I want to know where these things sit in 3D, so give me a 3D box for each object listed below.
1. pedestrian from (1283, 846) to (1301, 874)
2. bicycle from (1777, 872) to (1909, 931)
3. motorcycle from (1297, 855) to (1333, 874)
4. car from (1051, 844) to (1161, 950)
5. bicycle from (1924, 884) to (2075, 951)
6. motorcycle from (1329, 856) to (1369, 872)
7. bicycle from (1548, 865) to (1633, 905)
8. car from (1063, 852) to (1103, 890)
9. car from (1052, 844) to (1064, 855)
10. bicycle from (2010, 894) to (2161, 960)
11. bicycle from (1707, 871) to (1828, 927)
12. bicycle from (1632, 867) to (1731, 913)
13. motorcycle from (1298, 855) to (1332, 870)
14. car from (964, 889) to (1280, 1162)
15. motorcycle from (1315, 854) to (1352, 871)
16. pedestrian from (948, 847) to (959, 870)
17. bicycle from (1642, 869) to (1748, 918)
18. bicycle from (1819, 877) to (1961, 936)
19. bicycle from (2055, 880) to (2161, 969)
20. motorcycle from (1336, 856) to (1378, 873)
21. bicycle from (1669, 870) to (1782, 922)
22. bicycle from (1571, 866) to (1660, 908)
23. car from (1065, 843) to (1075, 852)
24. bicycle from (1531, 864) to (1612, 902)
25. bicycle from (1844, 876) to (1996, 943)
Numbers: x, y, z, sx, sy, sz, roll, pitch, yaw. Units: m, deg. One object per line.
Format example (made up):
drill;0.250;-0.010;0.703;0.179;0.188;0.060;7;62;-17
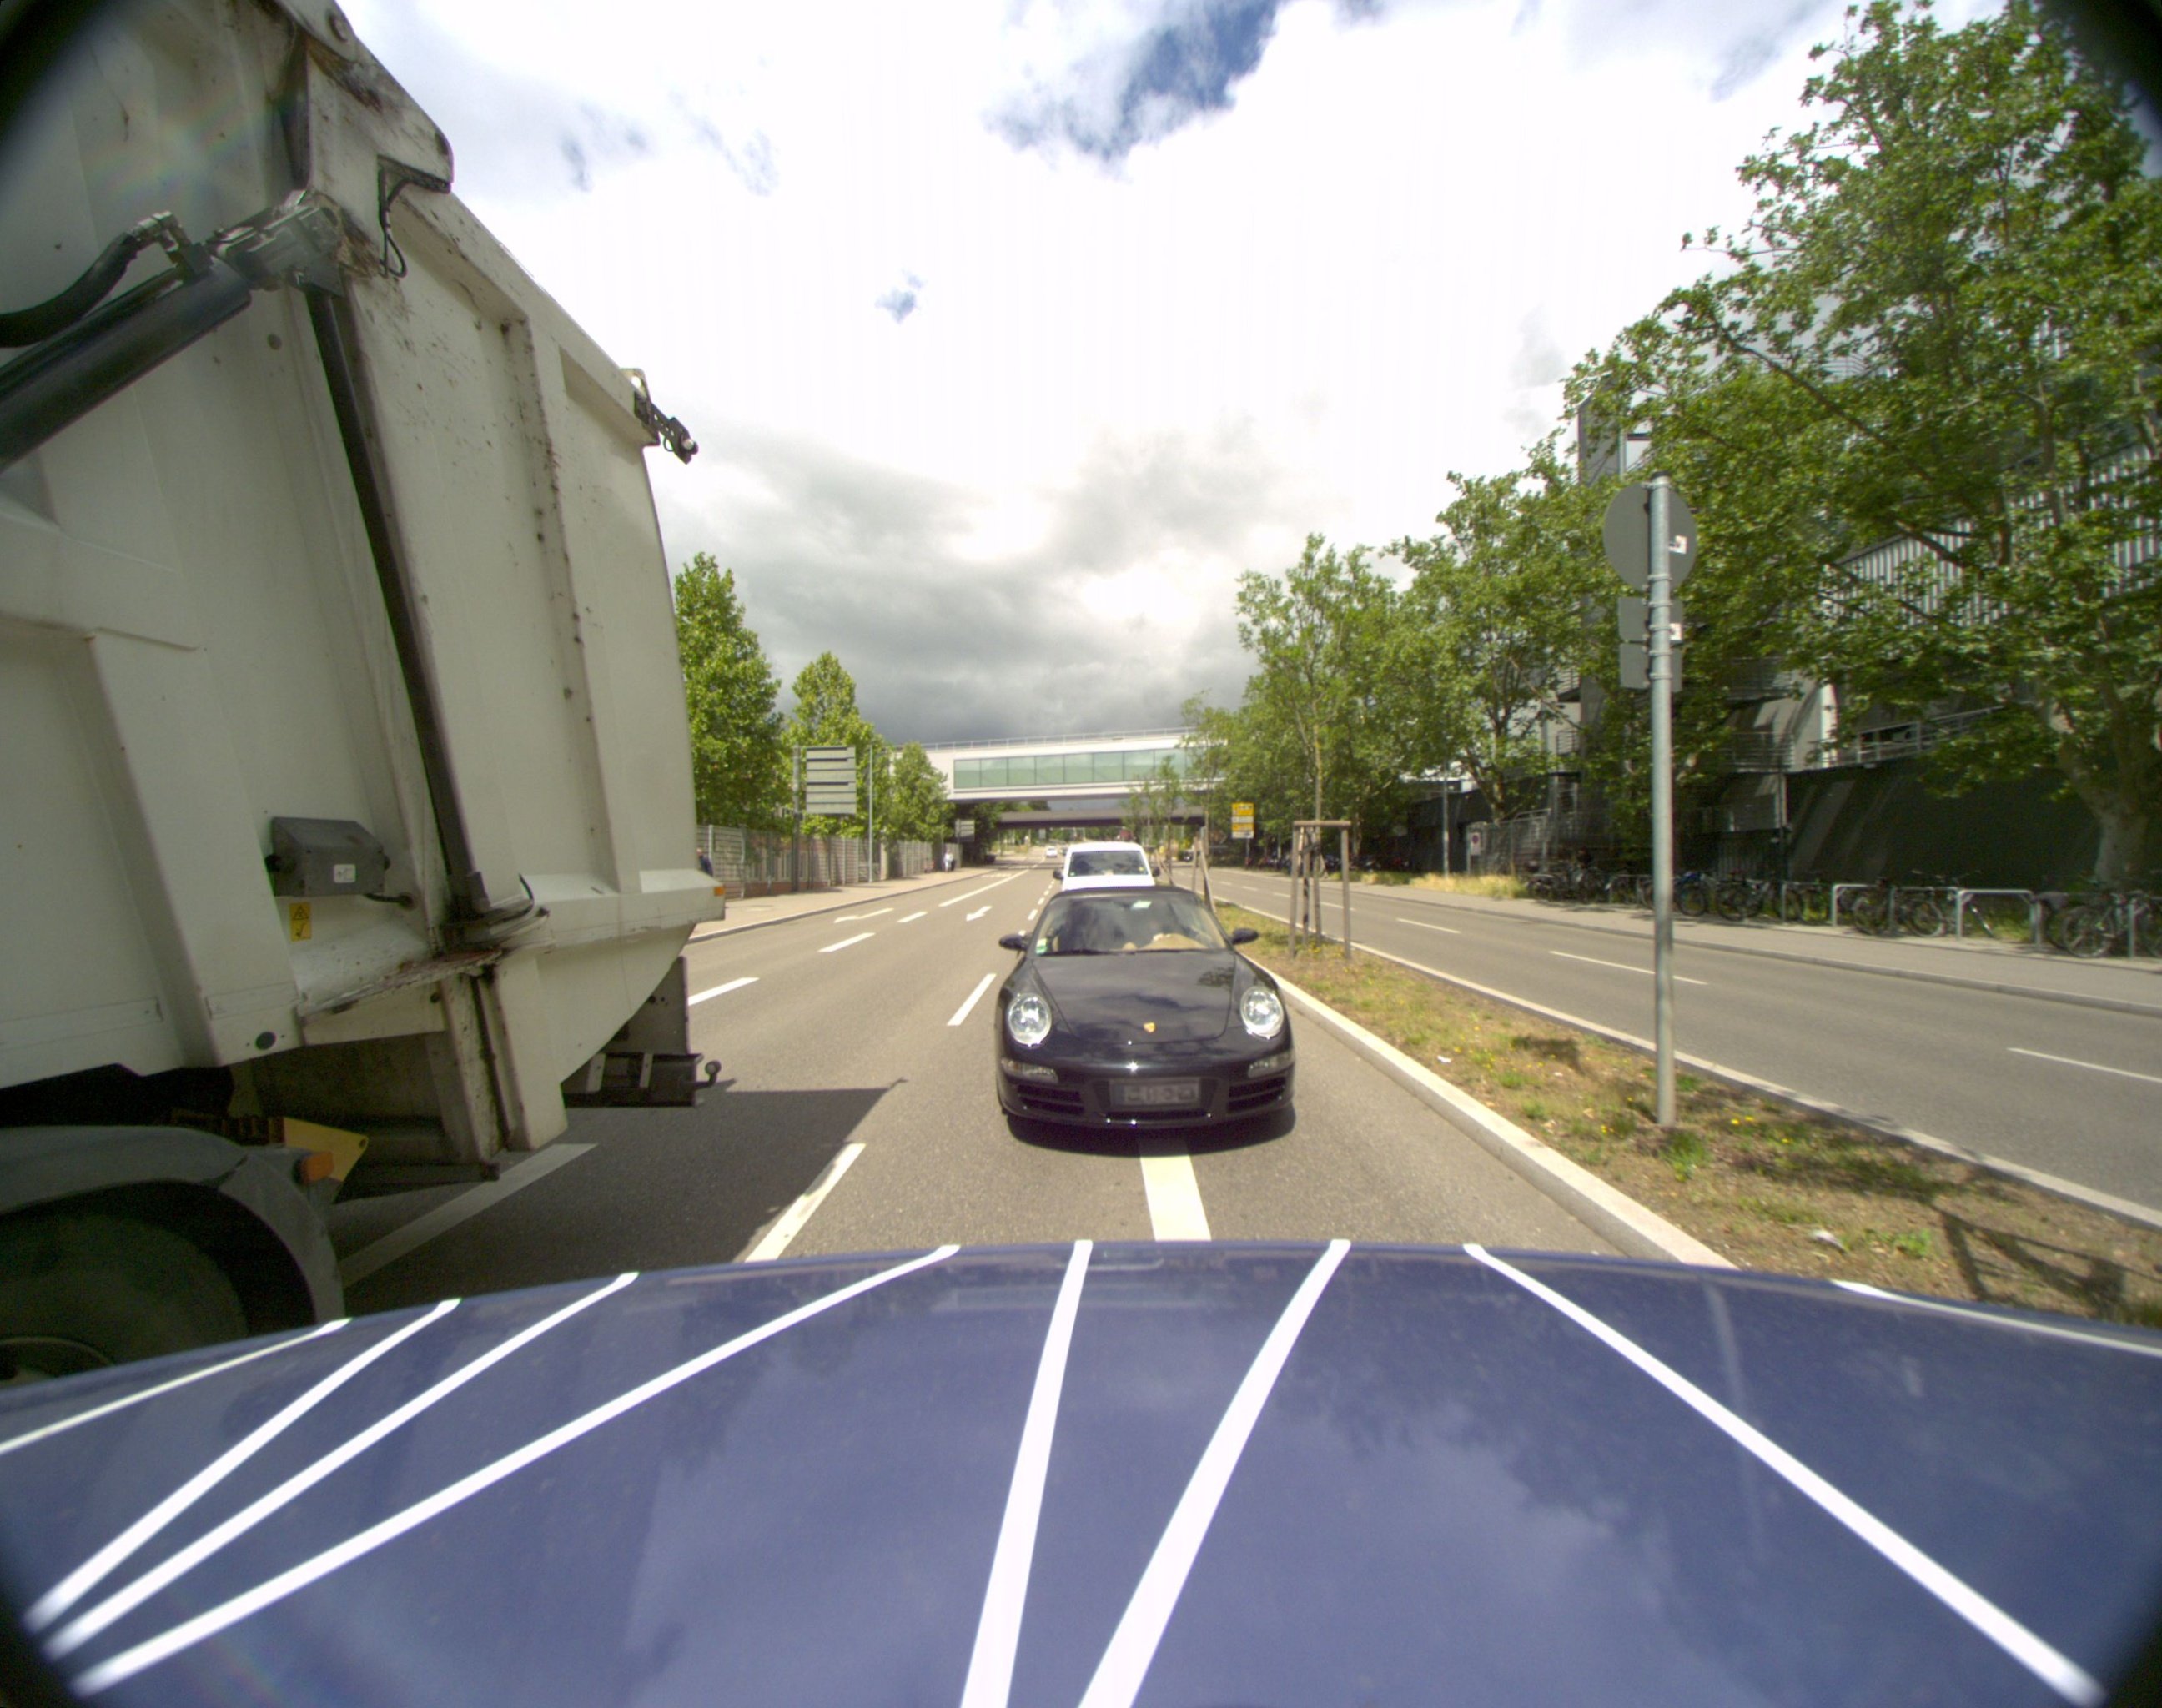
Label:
pedestrian;13.024;0.356;46.891;0.900;1.710;0.673;-1;1;1
bicycle;15.042;0.928;15.020;2.129;1.104;0.382;-1;1;3
motorcycle;15.071;0.688;49.023;2.133;1.131;0.534;-1;0;1
car;0.471;0.737;15.646;1.862;1.800;4.906;-1;0;1
bicycle;14.753;1.015;12.219;1.993;0.992;0.382;-1;1;-1
motorcycle;15.648;0.592;44.312;2.133;0.880;0.534;-1;0;1
bicycle;14.754;0.904;22.020;2.129;1.104;0.382;-1;1;3
car;0.093;0.732;35.240;1.747;1.647;3.545;-1;0;0
car;-4.419;-0.868;145.633;1.925;2.082;4.657;-1;0;2
bicycle;14.957;1.073;11.239;1.993;0.885;0.382;-1;1;-1
bicycle;14.501;0.946;16.059;2.129;1.104;0.382;-1;1;3
bicycle;15.066;0.897;19.085;2.129;1.104;0.382;-1;1;3
motorcycle;15.869;0.570;51.555;2.133;0.963;0.534;-1;0;1
car;0.253;1.033;6.082;1.710;1.280;3.806;-1;0;1
motorcycle;15.784;0.521;47.585;2.133;0.963;0.534;-1;0;1
pedestrian;-10.895;0.389;64.847;0.739;1.901;0.658;-2;1;-1
bicycle;14.506;0.926;17.970;2.129;1.104;0.382;-1;1;3
bicycle;15.012;0.971;14.114;2.129;1.025;0.382;-1;1;3
bicycle;14.354;0.929;10.237;1.993;1.121;0.382;-1;1;-1
motorcycle;15.381;0.598;42.385;2.133;0.893;0.534;-1;0;1
bicycle;14.480;0.934;17.083;2.129;1.104;0.382;-1;1;3
bicycle;14.824;0.917;21.097;2.129;1.104;0.382;-1;1;3
car;-2.365;-1.332;157.734;1.862;1.800;4.357;-3;0;1
bicycle;14.750;0.868;22.862;2.129;1.104;0.382;-1;1;3
bicycle;14.578;0.959;13.220;2.129;1.089;0.382;-1;1;3
